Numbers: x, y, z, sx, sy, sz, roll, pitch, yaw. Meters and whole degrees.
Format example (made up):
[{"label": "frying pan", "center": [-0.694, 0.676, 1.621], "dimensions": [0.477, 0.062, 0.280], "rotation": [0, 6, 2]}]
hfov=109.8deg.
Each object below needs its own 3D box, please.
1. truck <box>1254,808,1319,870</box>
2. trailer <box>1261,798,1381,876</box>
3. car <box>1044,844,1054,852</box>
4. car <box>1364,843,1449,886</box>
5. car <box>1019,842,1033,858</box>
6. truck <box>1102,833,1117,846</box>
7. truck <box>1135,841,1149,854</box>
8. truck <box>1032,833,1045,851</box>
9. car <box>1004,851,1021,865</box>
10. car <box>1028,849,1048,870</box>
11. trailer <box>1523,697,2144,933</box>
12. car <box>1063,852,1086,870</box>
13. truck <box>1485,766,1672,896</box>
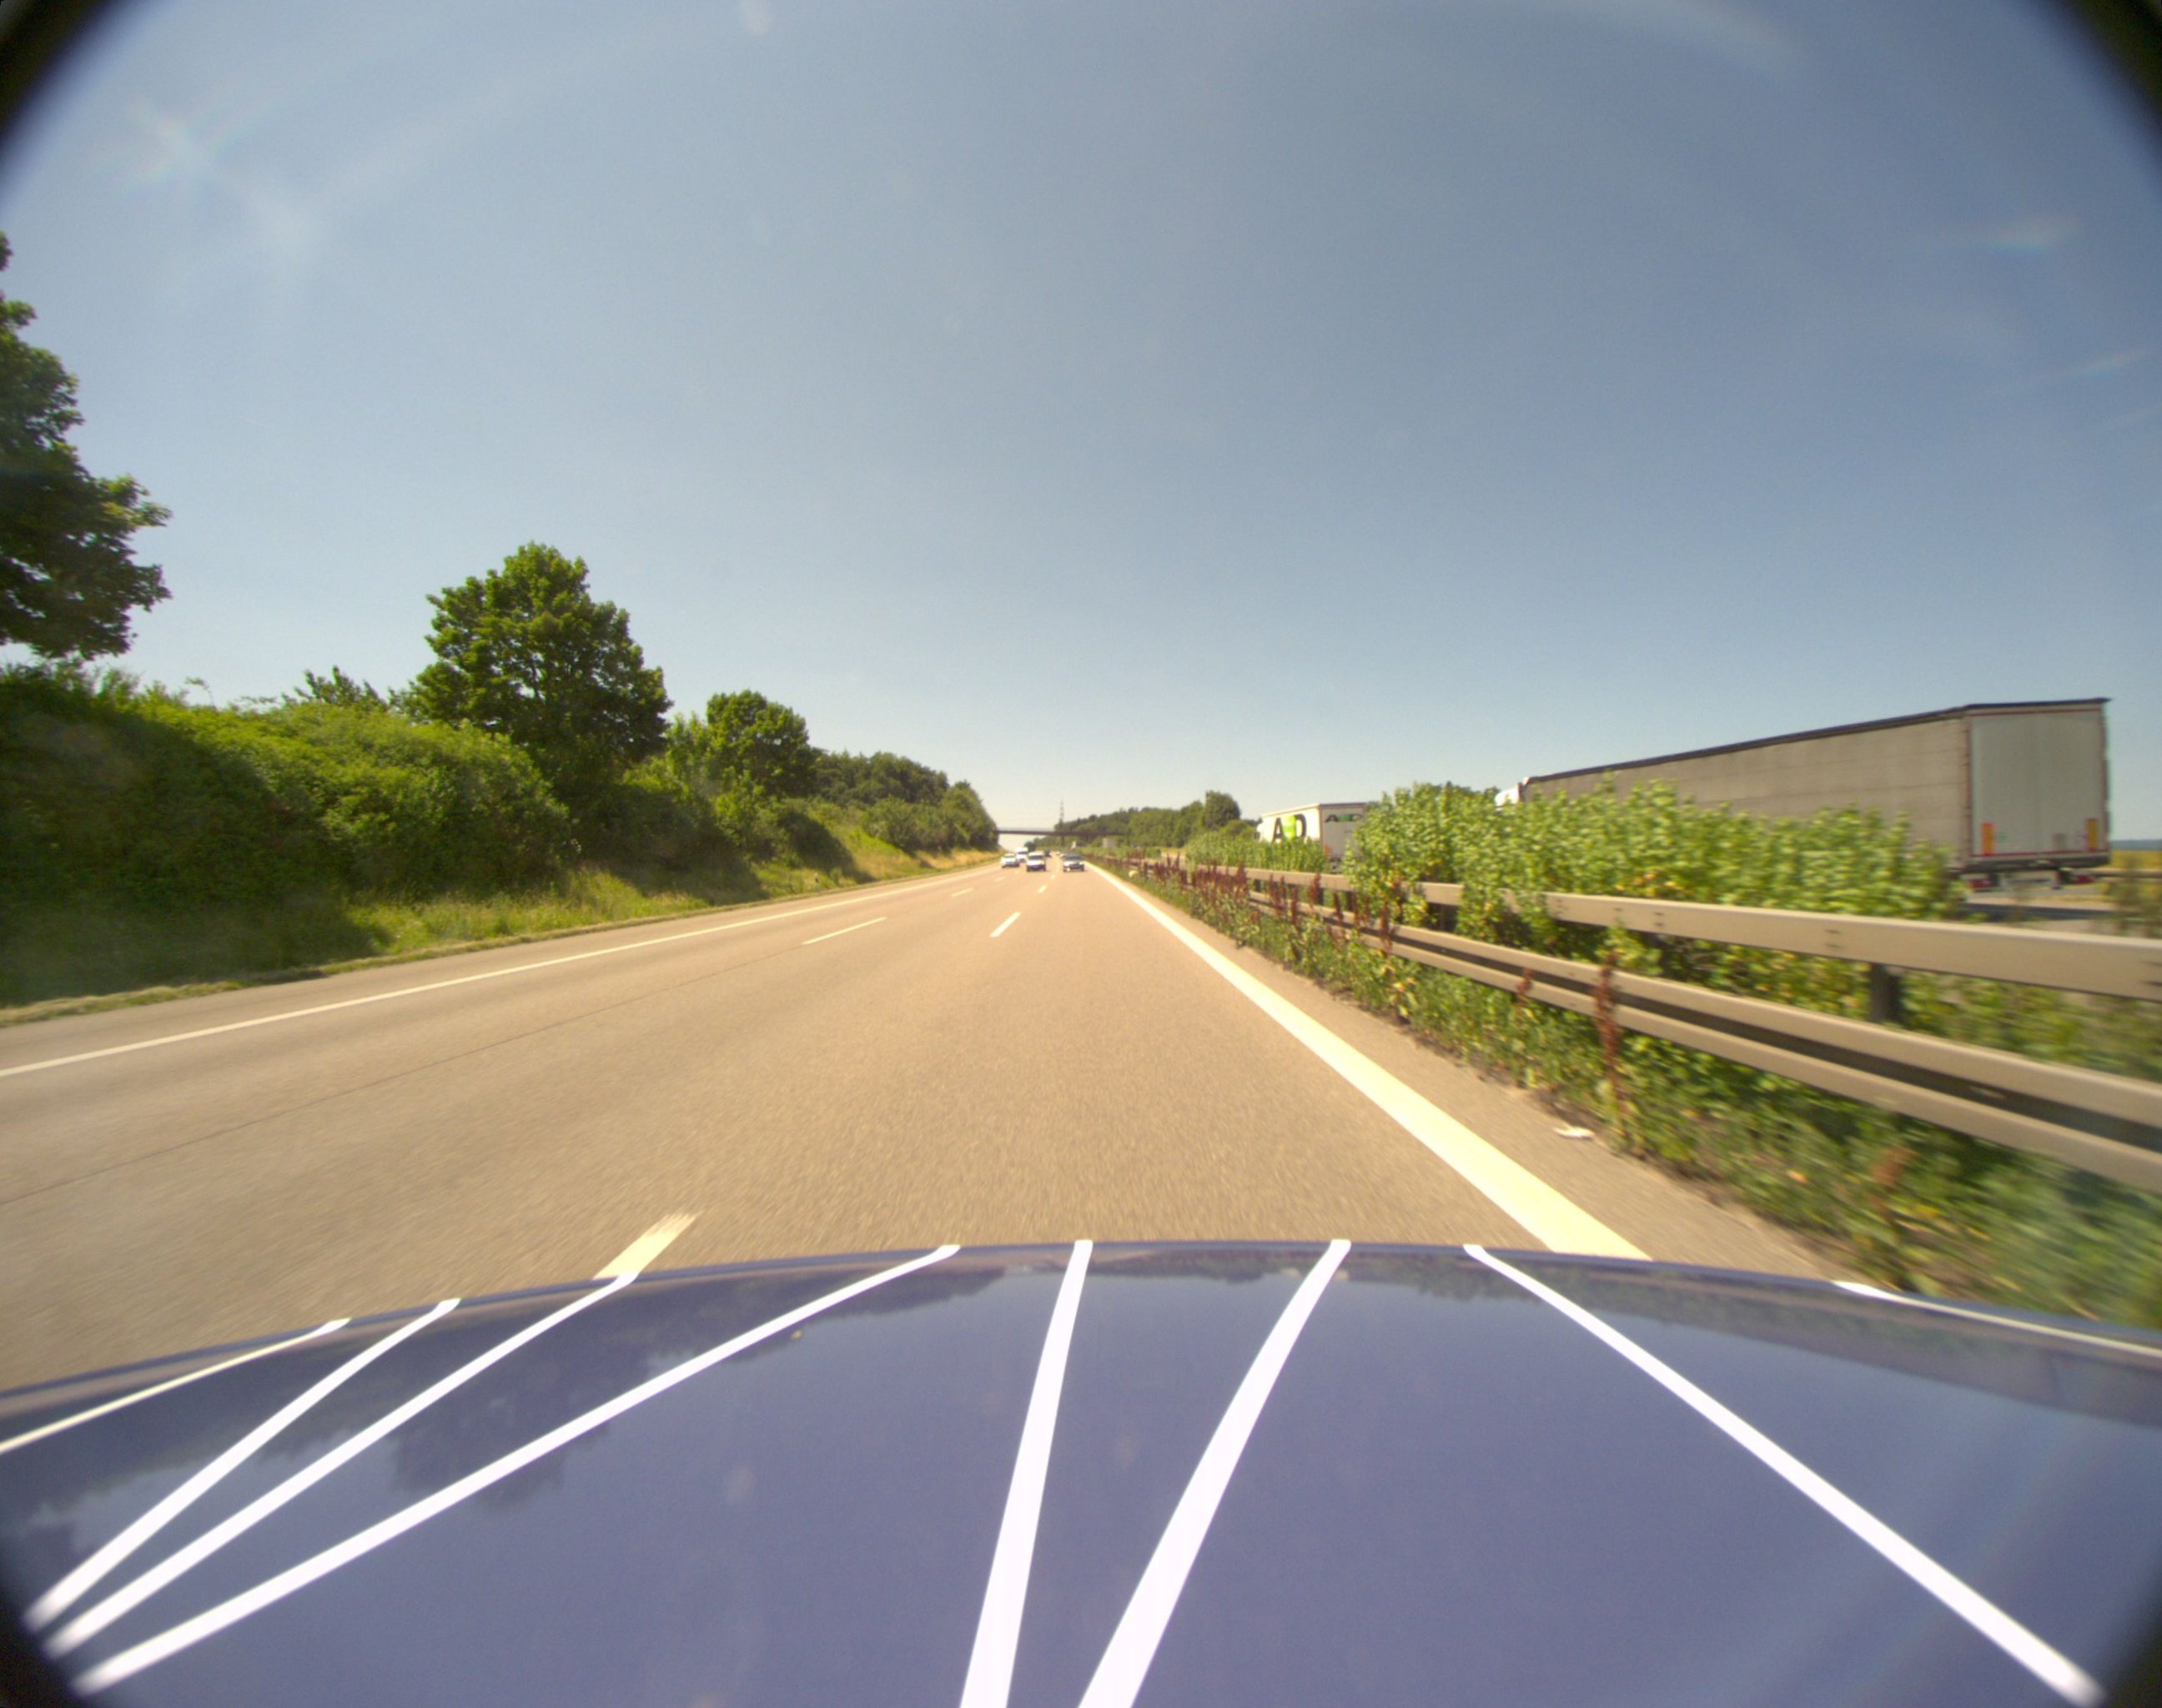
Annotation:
[{"label": "truck", "center": [14.653, -1.009, 54.527], "dimensions": [3.184, 4.085, 5.226], "rotation": [-2, 0, 1]}, {"label": "trailer", "center": [14.533, -0.915, 47.694], "dimensions": [3.201, 4.052, 14.043], "rotation": [-2, 0, 1]}, {"label": "car", "center": [-6.966, -1.226, 165.272], "dimensions": [1.789, 1.550, 3.940], "rotation": [-2, 0, -8]}, {"label": "car", "center": [12.635, 0.392, 29.732], "dimensions": [1.692, 1.525, 3.655], "rotation": [-2, 0, 0]}, {"label": "car", "center": [-9.291, -0.581, 128.217], "dimensions": [2.095, 2.561, 6.620], "rotation": [-2, 0, -3]}, {"label": "truck", "center": [9.088, -4.650, 243.302], "dimensions": [2.983, 3.991, 16.819], "rotation": [-2, 1, -3]}, {"label": "truck", "center": [11.403, -1.214, 142.271], "dimensions": [2.025, 2.473, 5.562], "rotation": [-2, 1, -1]}, {"label": "truck", "center": [-9.948, -2.778, 176.493], "dimensions": [2.517, 3.819, 4.889], "rotation": [-2, 0, -8]}, {"label": "car", "center": [-8.438, 0.470, 94.373], "dimensions": [1.786, 1.641, 4.402], "rotation": [-2, 0, -2]}, {"label": "car", "center": [-4.133, 0.495, 72.455], "dimensions": [1.751, 1.819, 4.798], "rotation": [-2, 1, -4]}, {"label": "trailer", "center": [17.431, -0.686, 20.503], "dimensions": [2.976, 4.052, 14.043], "rotation": [-2, 0, 1]}, {"label": "car", "center": [-0.617, 0.594, 66.733], "dimensions": [1.769, 1.400, 3.998], "rotation": [-2, 0, -3]}, {"label": "truck", "center": [17.605, -0.756, 27.434], "dimensions": [3.018, 4.085, 5.621], "rotation": [-2, 0, 1]}]
